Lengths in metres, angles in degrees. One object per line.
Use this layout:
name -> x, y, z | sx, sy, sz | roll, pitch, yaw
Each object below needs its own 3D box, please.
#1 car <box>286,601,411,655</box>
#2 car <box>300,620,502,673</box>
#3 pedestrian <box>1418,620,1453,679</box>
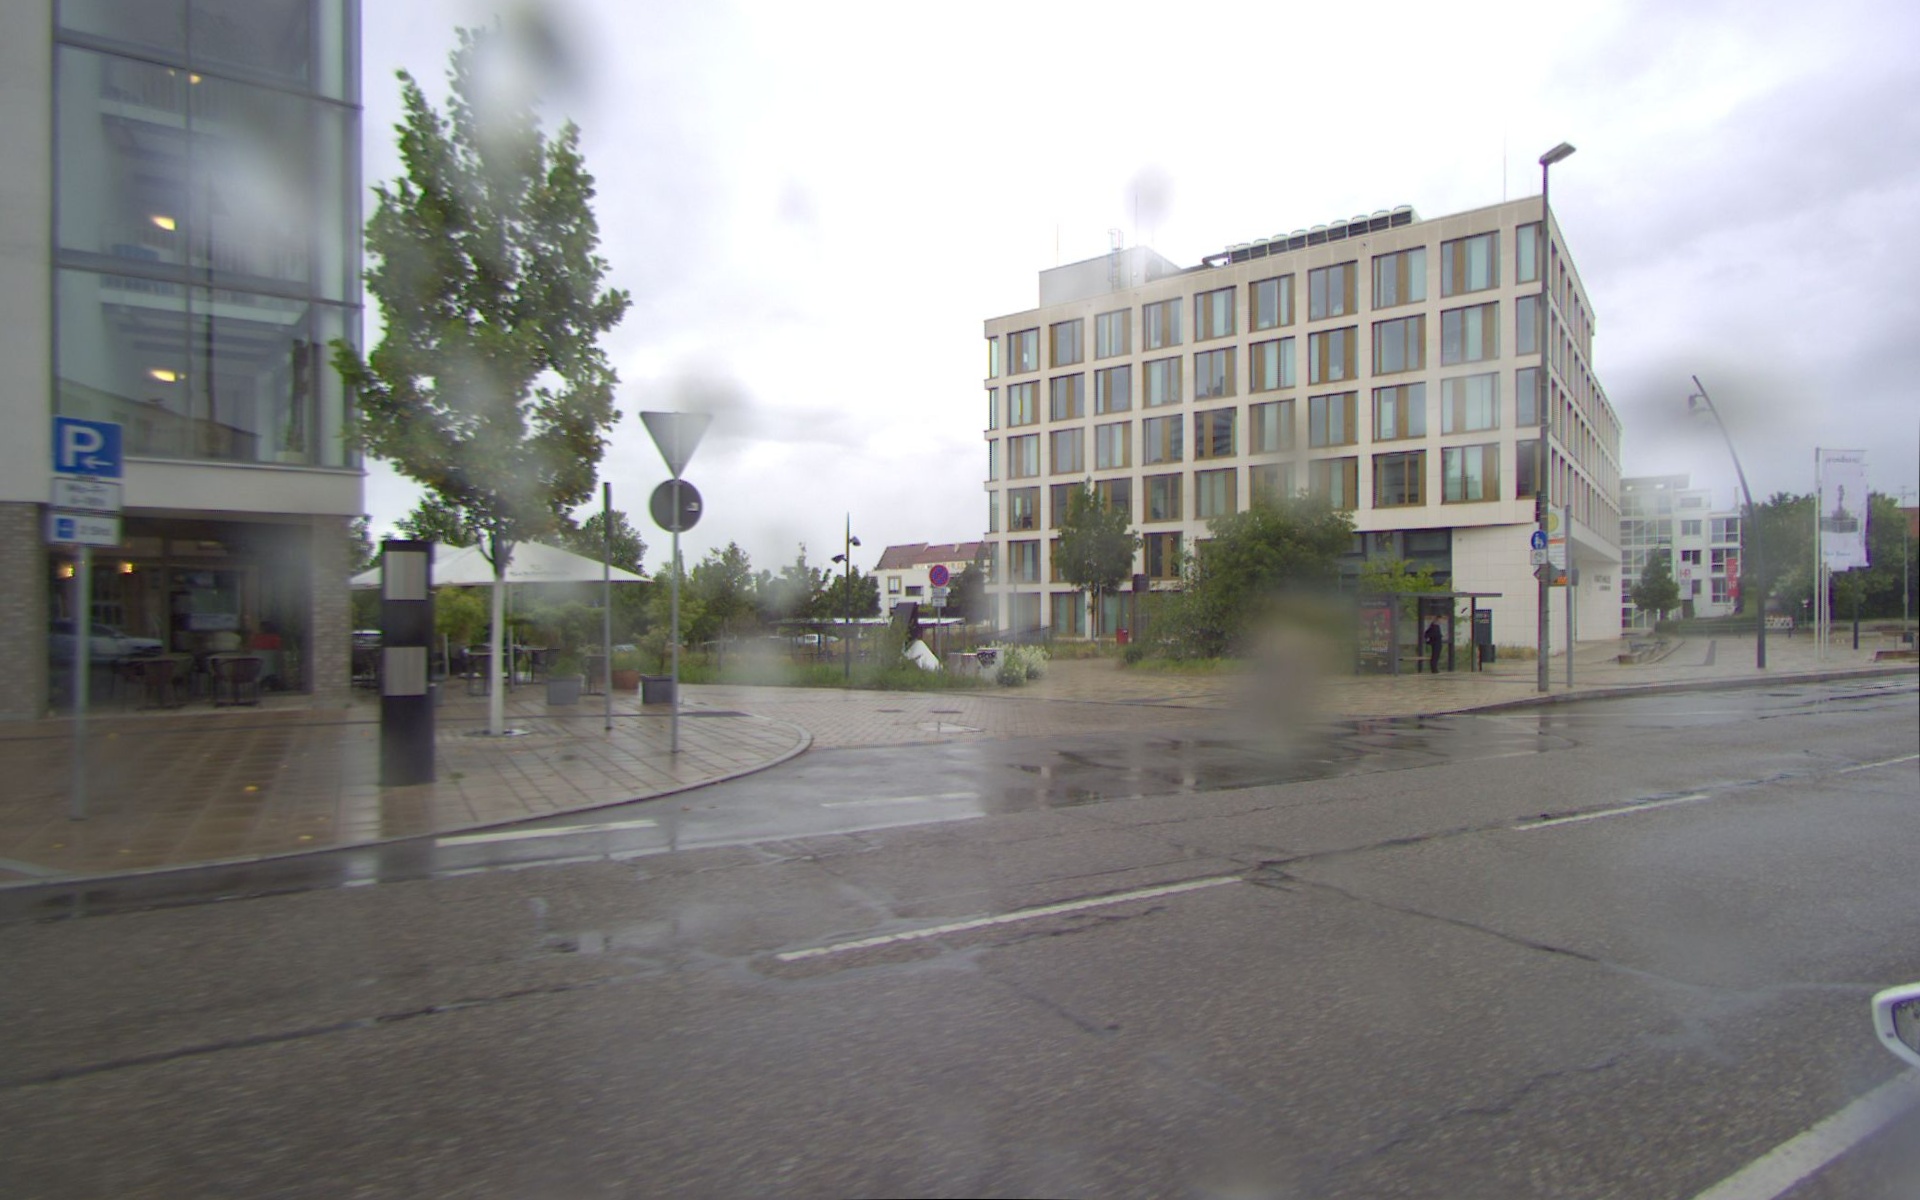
car -> -21.328, 1.012, 35.109 | 1.470, 1.799, 3.439 | -1, -3, 43
car -> -15.032, 1.264, 27.191 | 1.769, 1.312, 4.445 | -1, -3, 43
pedestrian -> 14.330, 1.489, 30.248 | 0.669, 1.768, 0.775 | 3, -3, -44
